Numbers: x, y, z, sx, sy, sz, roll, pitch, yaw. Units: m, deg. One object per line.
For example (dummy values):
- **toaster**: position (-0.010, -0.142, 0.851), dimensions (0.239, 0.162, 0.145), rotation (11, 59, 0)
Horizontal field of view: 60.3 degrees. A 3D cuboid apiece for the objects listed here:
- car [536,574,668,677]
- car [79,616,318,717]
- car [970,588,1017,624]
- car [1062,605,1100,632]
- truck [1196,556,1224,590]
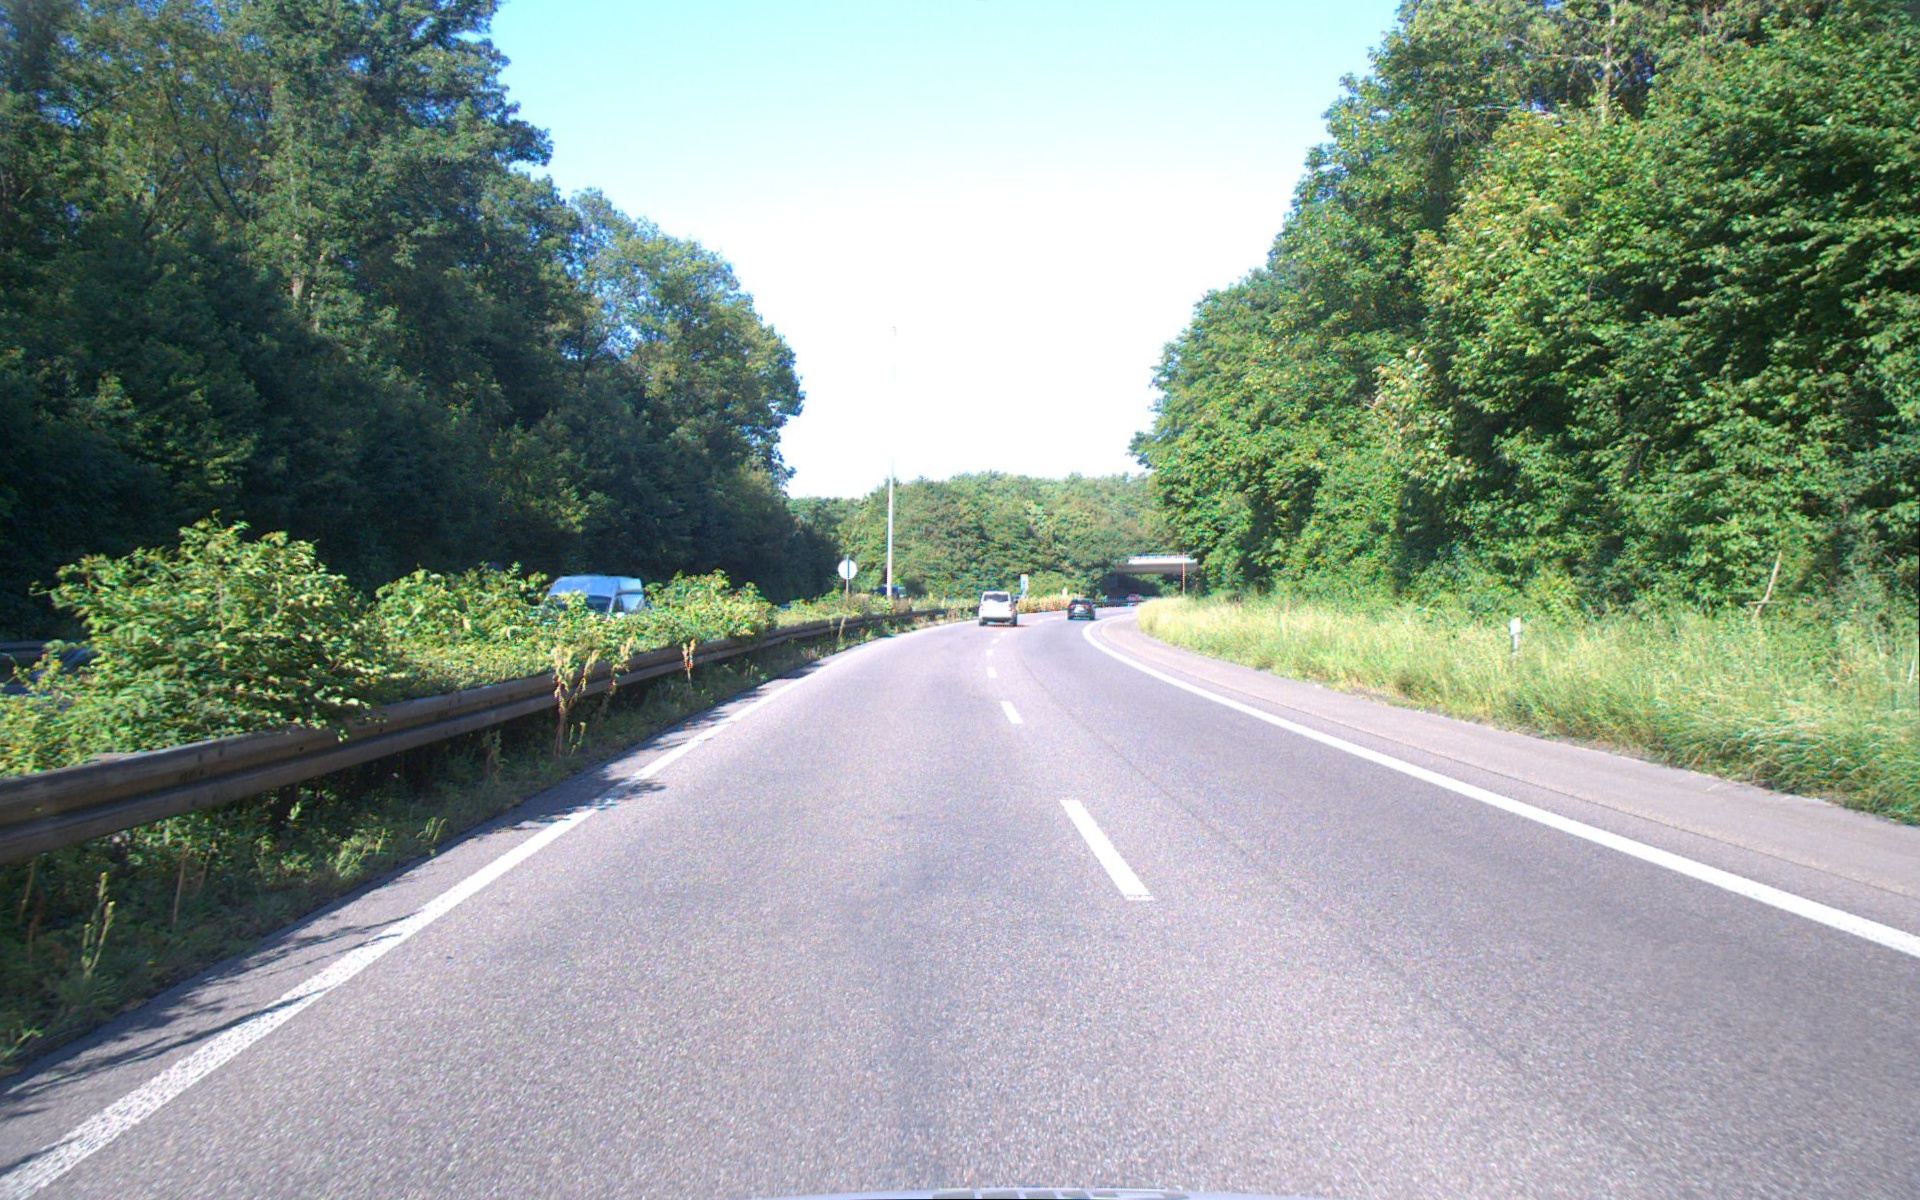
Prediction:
- **car**: position (-8.570, 0.597, 40.174), dimensions (1.875, 2.292, 5.784), rotation (1, 0, 0)
- **car**: position (-12.224, 1.015, 26.940), dimensions (1.725, 1.449, 4.778), rotation (1, 0, -1)
- **car**: position (1.705, 0.310, 86.614), dimensions (1.914, 1.813, 4.582), rotation (1, 0, -6)
- **car**: position (8.362, 1.270, 114.408), dimensions (1.910, 1.813, 4.591), rotation (1, 0, 13)
- **truck**: position (34.121, -3.681, 226.073), dimensions (3.655, 4.419, 9.311), rotation (1, 0, 8)
